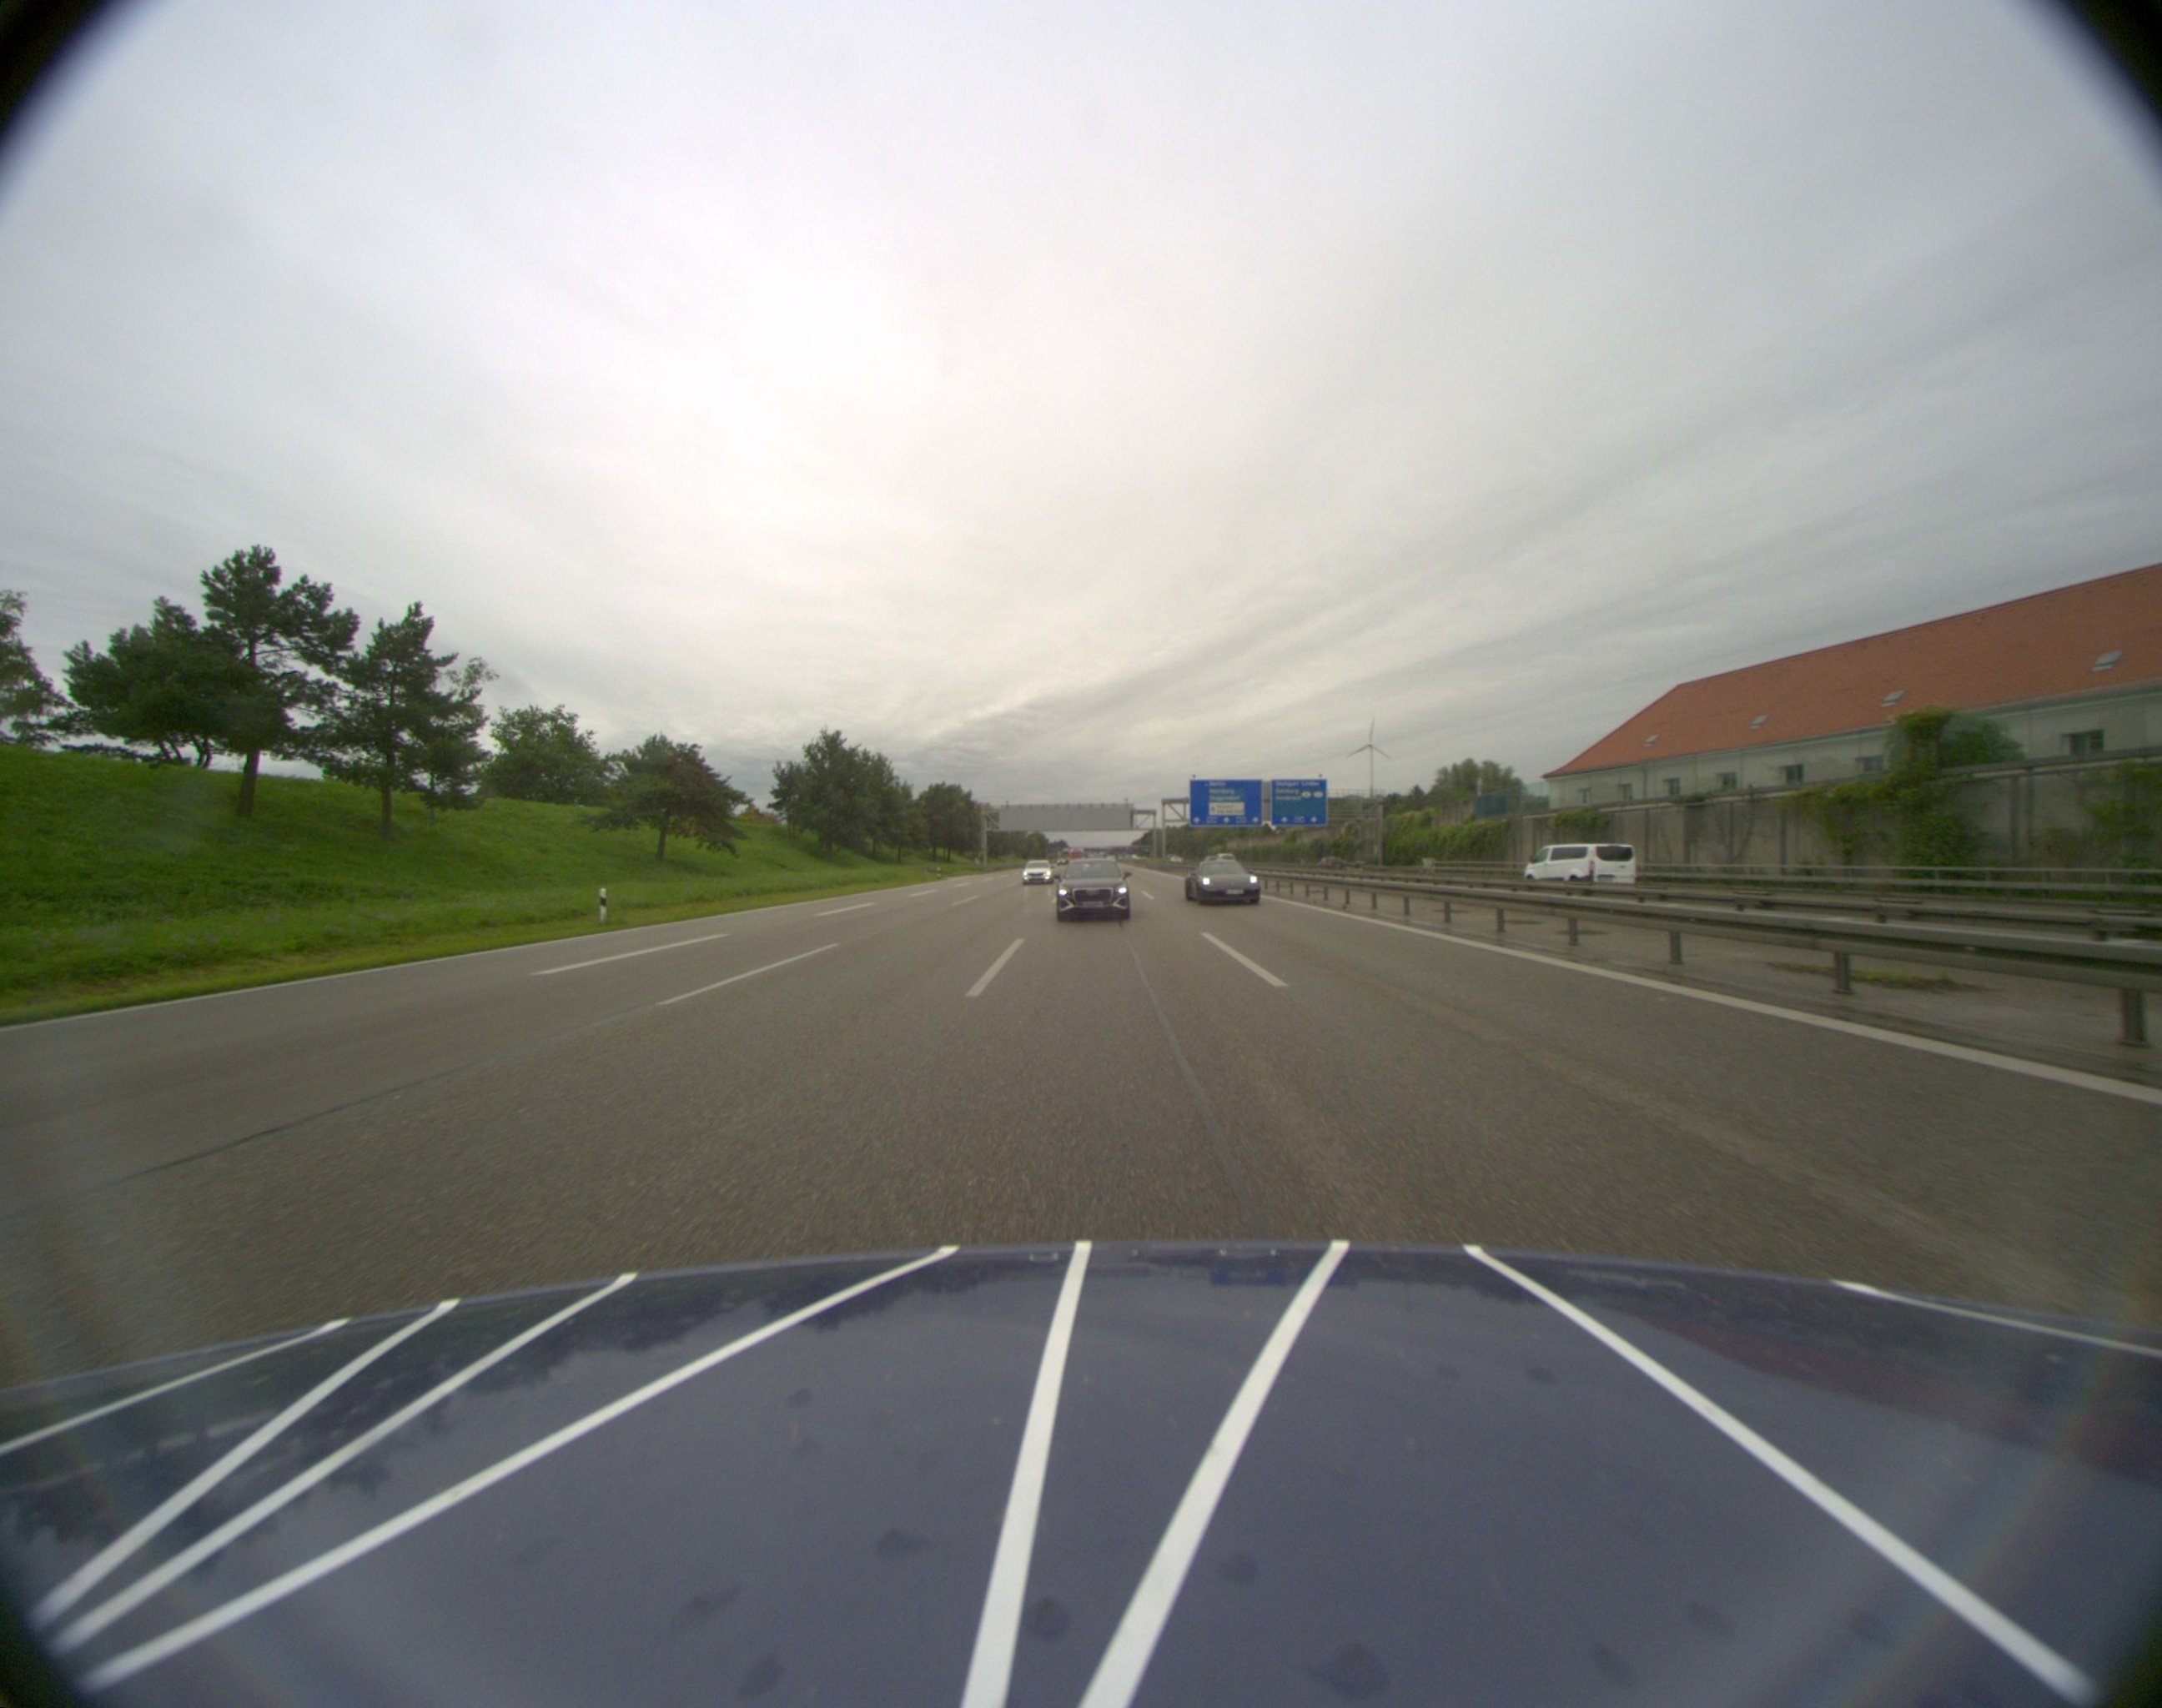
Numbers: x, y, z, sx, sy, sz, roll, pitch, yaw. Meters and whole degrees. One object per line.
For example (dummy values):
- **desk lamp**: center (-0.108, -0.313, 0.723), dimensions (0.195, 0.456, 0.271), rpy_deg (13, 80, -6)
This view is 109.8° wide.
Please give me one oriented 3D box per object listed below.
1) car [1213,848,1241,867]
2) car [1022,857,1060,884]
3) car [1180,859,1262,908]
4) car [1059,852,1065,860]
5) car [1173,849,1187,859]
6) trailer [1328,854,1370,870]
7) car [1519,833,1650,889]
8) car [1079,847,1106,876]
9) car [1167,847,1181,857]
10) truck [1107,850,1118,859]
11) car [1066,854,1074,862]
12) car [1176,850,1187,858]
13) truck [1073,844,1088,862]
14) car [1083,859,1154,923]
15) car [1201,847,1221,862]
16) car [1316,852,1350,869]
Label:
- **car**: center (14.512, 0.311, 75.698), dimensions (1.792, 1.741, 4.535), rpy_deg (-2, 1, 0)
- **car**: center (-2.472, 0.990, 47.692), dimensions (1.998, 1.555, 4.910), rpy_deg (-1, 0, 1)
- **car**: center (4.317, 0.850, 24.167), dimensions (1.655, 1.264, 4.924), rpy_deg (-2, 1, 0)
- **car**: center (-4.335, 0.512, 173.945), dimensions (1.346, 1.732, 3.106), rpy_deg (-2, 1, 1)
- **car**: center (15.452, -0.042, 118.899), dimensions (1.605, 1.398, 4.764), rpy_deg (3, 1, 0)
- **trailer**: center (24.909, 0.743, 70.710), dimensions (2.135, 1.260, 5.247), rpy_deg (-2, 1, 1)
- **car**: center (20.149, 0.249, 30.722), dimensions (1.998, 2.002, 4.956), rpy_deg (-2, 1, 1)
- **car**: center (1.202, 0.718, 77.699), dimensions (2.459, 2.726, 8.266), rpy_deg (-2, 1, 1)
- **car**: center (19.270, -0.472, 158.210), dimensions (2.214, 1.960, 6.270), rpy_deg (-2, 1, 1)
- **truck**: center (6.704, 0.102, 161.855), dimensions (1.998, 2.002, 4.000), rpy_deg (-2, 0, 1)
- **car**: center (-2.957, 1.125, 201.816), dimensions (1.998, 2.002, 4.000), rpy_deg (-2, 1, 2)
- **car**: center (26.706, -0.068, 202.239), dimensions (2.214, 1.863, 5.754), rpy_deg (-2, 1, 1)
- **truck**: center (-0.101, -0.277, 158.263), dimensions (2.836, 3.634, 10.671), rpy_deg (-2, 1, 1)
- **car**: center (0.897, 0.882, 19.507), dimensions (1.616, 1.403, 3.326), rpy_deg (-2, 1, 0)
- **car**: center (18.047, 0.050, 105.713), dimensions (1.937, 2.002, 4.731), rpy_deg (-2, 1, 0)
- **car**: center (25.015, 0.608, 75.586), dimensions (1.960, 1.543, 4.521), rpy_deg (-2, 1, 2)
